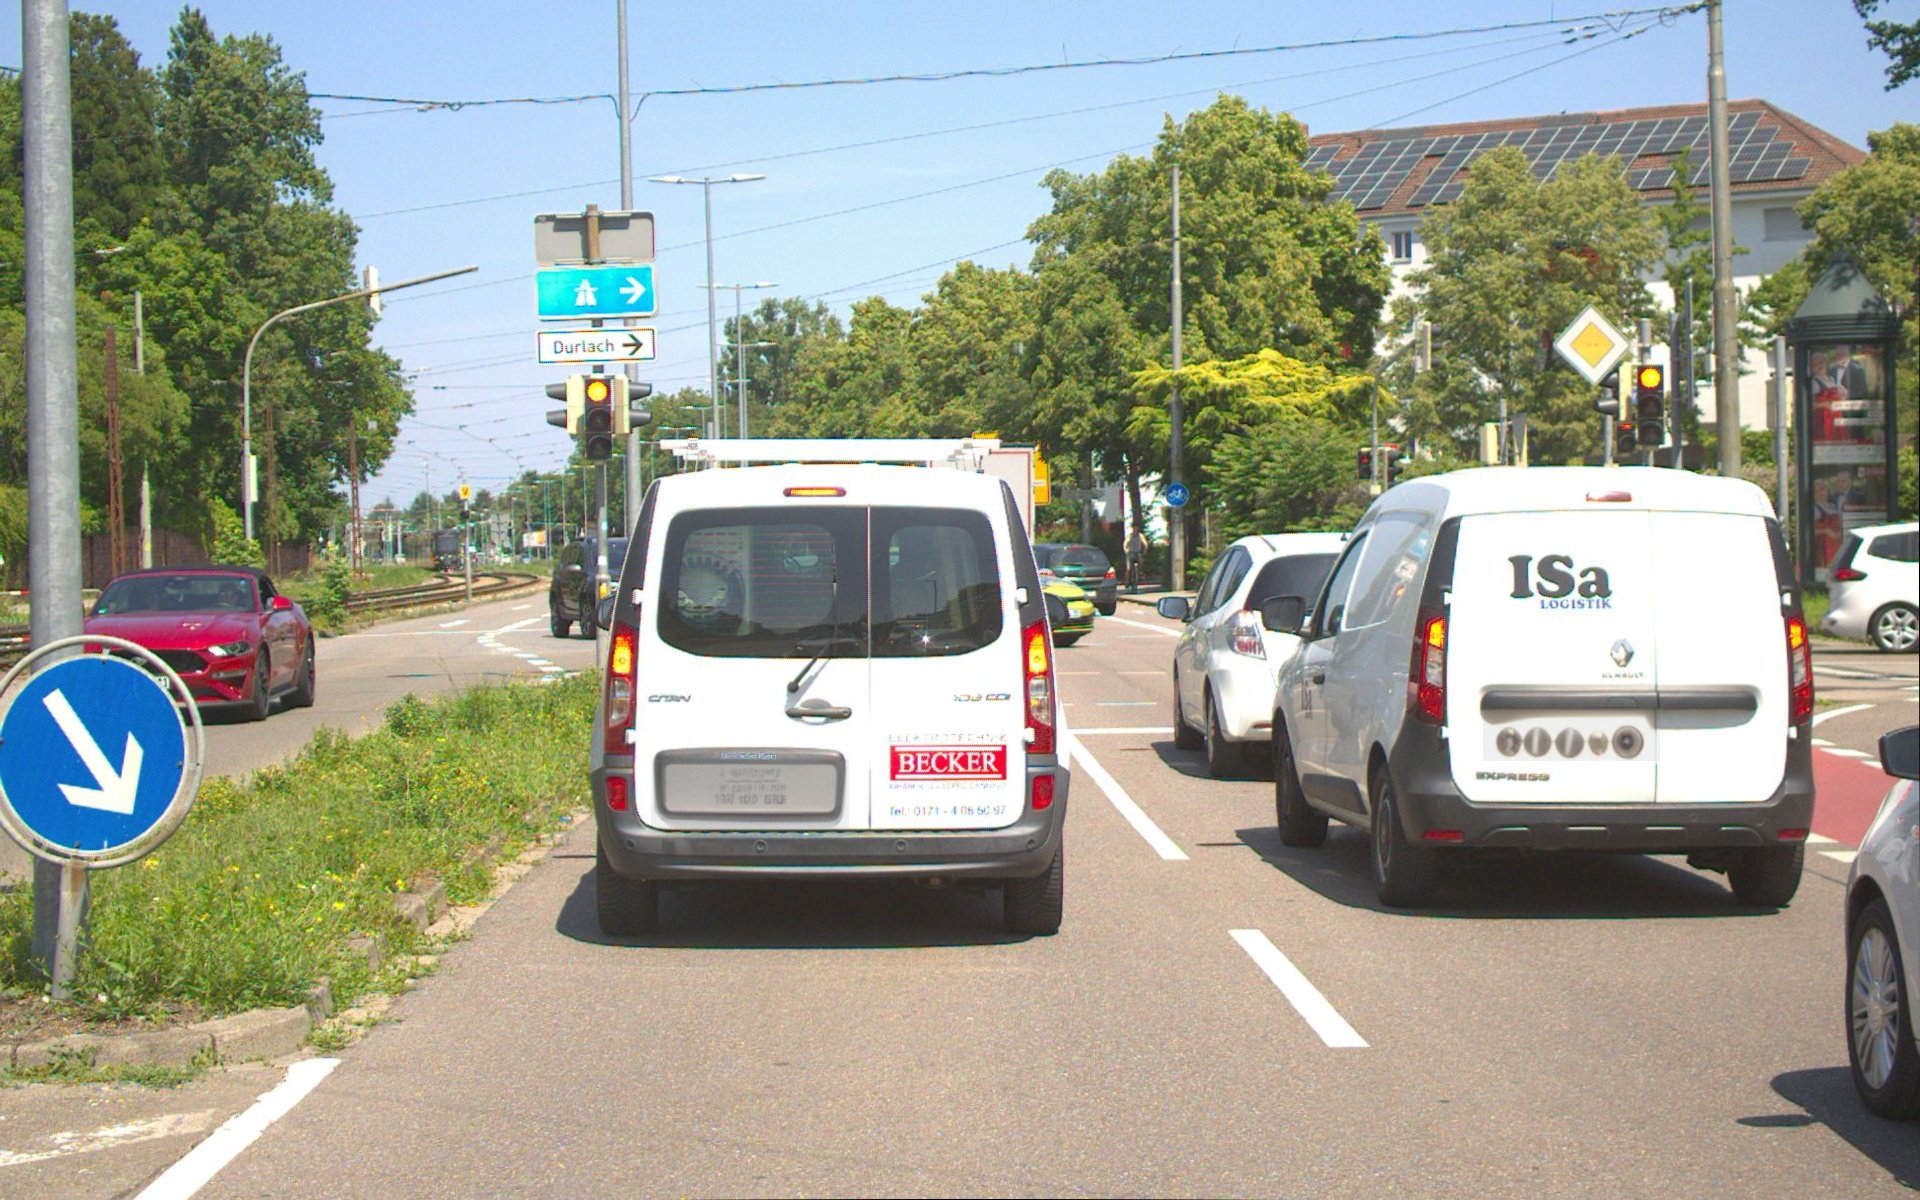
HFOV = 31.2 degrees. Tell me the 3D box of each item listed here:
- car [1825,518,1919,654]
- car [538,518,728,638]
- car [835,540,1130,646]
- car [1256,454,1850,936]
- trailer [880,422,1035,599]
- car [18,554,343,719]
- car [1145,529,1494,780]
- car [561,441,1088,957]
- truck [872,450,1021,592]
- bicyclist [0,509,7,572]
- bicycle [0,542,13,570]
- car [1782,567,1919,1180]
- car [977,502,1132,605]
[{"bbox_3d":[12.768,-0.200,41.453,4.443,1.612,1.999,-1,1,12],"label":"car"},{"bbox_3d":[-5.361,-0.372,55.883,1.993,1.853,4.001,-1,1,-22],"label":"car"},{"bbox_3d":[0.276,-0.107,46.898,3.999,1.374,1.540,0,1,42],"label":"car"},{"bbox_3d":[2.448,0.320,15.163,1.710,1.824,4.014,-1,1,-3],"label":"car"},{"bbox_3d":[-0.160,-2.151,83.916,3.527,4.037,8.978,-1,1,-1],"label":"trailer"},{"bbox_3d":[-7.075,0.282,31.669,1.984,1.354,4.539,-1,1,-1],"label":"car"},{"bbox_3d":[2.277,0.287,22.744,1.756,1.481,4.000,-1,1,-2],"label":"car"},{"bbox_3d":[-0.558,0.314,14.129,1.866,1.829,3.849,0,1,-2],"label":"car"},{"bbox_3d":[-0.453,-2.119,92.780,3.575,3.620,8.810,-1,1,-3],"label":"truck"},{"bbox_3d":[-22.708,-1.395,80.596,0.558,1.473,0.561,-1,1,-1],"label":"bicyclist"},{"bbox_3d":[-22.711,-1.025,80.555,0.561,0.645,1.720,-1,1,-1],"label":"bicycle"},{"bbox_3d":[3.105,0.668,7.658,1.607,1.446,3.521,0,1,-2],"label":"car"},{"bbox_3d":[1.864,-0.946,69.272,1.993,2.007,4.001,-1,1,-16],"label":"car"}]
